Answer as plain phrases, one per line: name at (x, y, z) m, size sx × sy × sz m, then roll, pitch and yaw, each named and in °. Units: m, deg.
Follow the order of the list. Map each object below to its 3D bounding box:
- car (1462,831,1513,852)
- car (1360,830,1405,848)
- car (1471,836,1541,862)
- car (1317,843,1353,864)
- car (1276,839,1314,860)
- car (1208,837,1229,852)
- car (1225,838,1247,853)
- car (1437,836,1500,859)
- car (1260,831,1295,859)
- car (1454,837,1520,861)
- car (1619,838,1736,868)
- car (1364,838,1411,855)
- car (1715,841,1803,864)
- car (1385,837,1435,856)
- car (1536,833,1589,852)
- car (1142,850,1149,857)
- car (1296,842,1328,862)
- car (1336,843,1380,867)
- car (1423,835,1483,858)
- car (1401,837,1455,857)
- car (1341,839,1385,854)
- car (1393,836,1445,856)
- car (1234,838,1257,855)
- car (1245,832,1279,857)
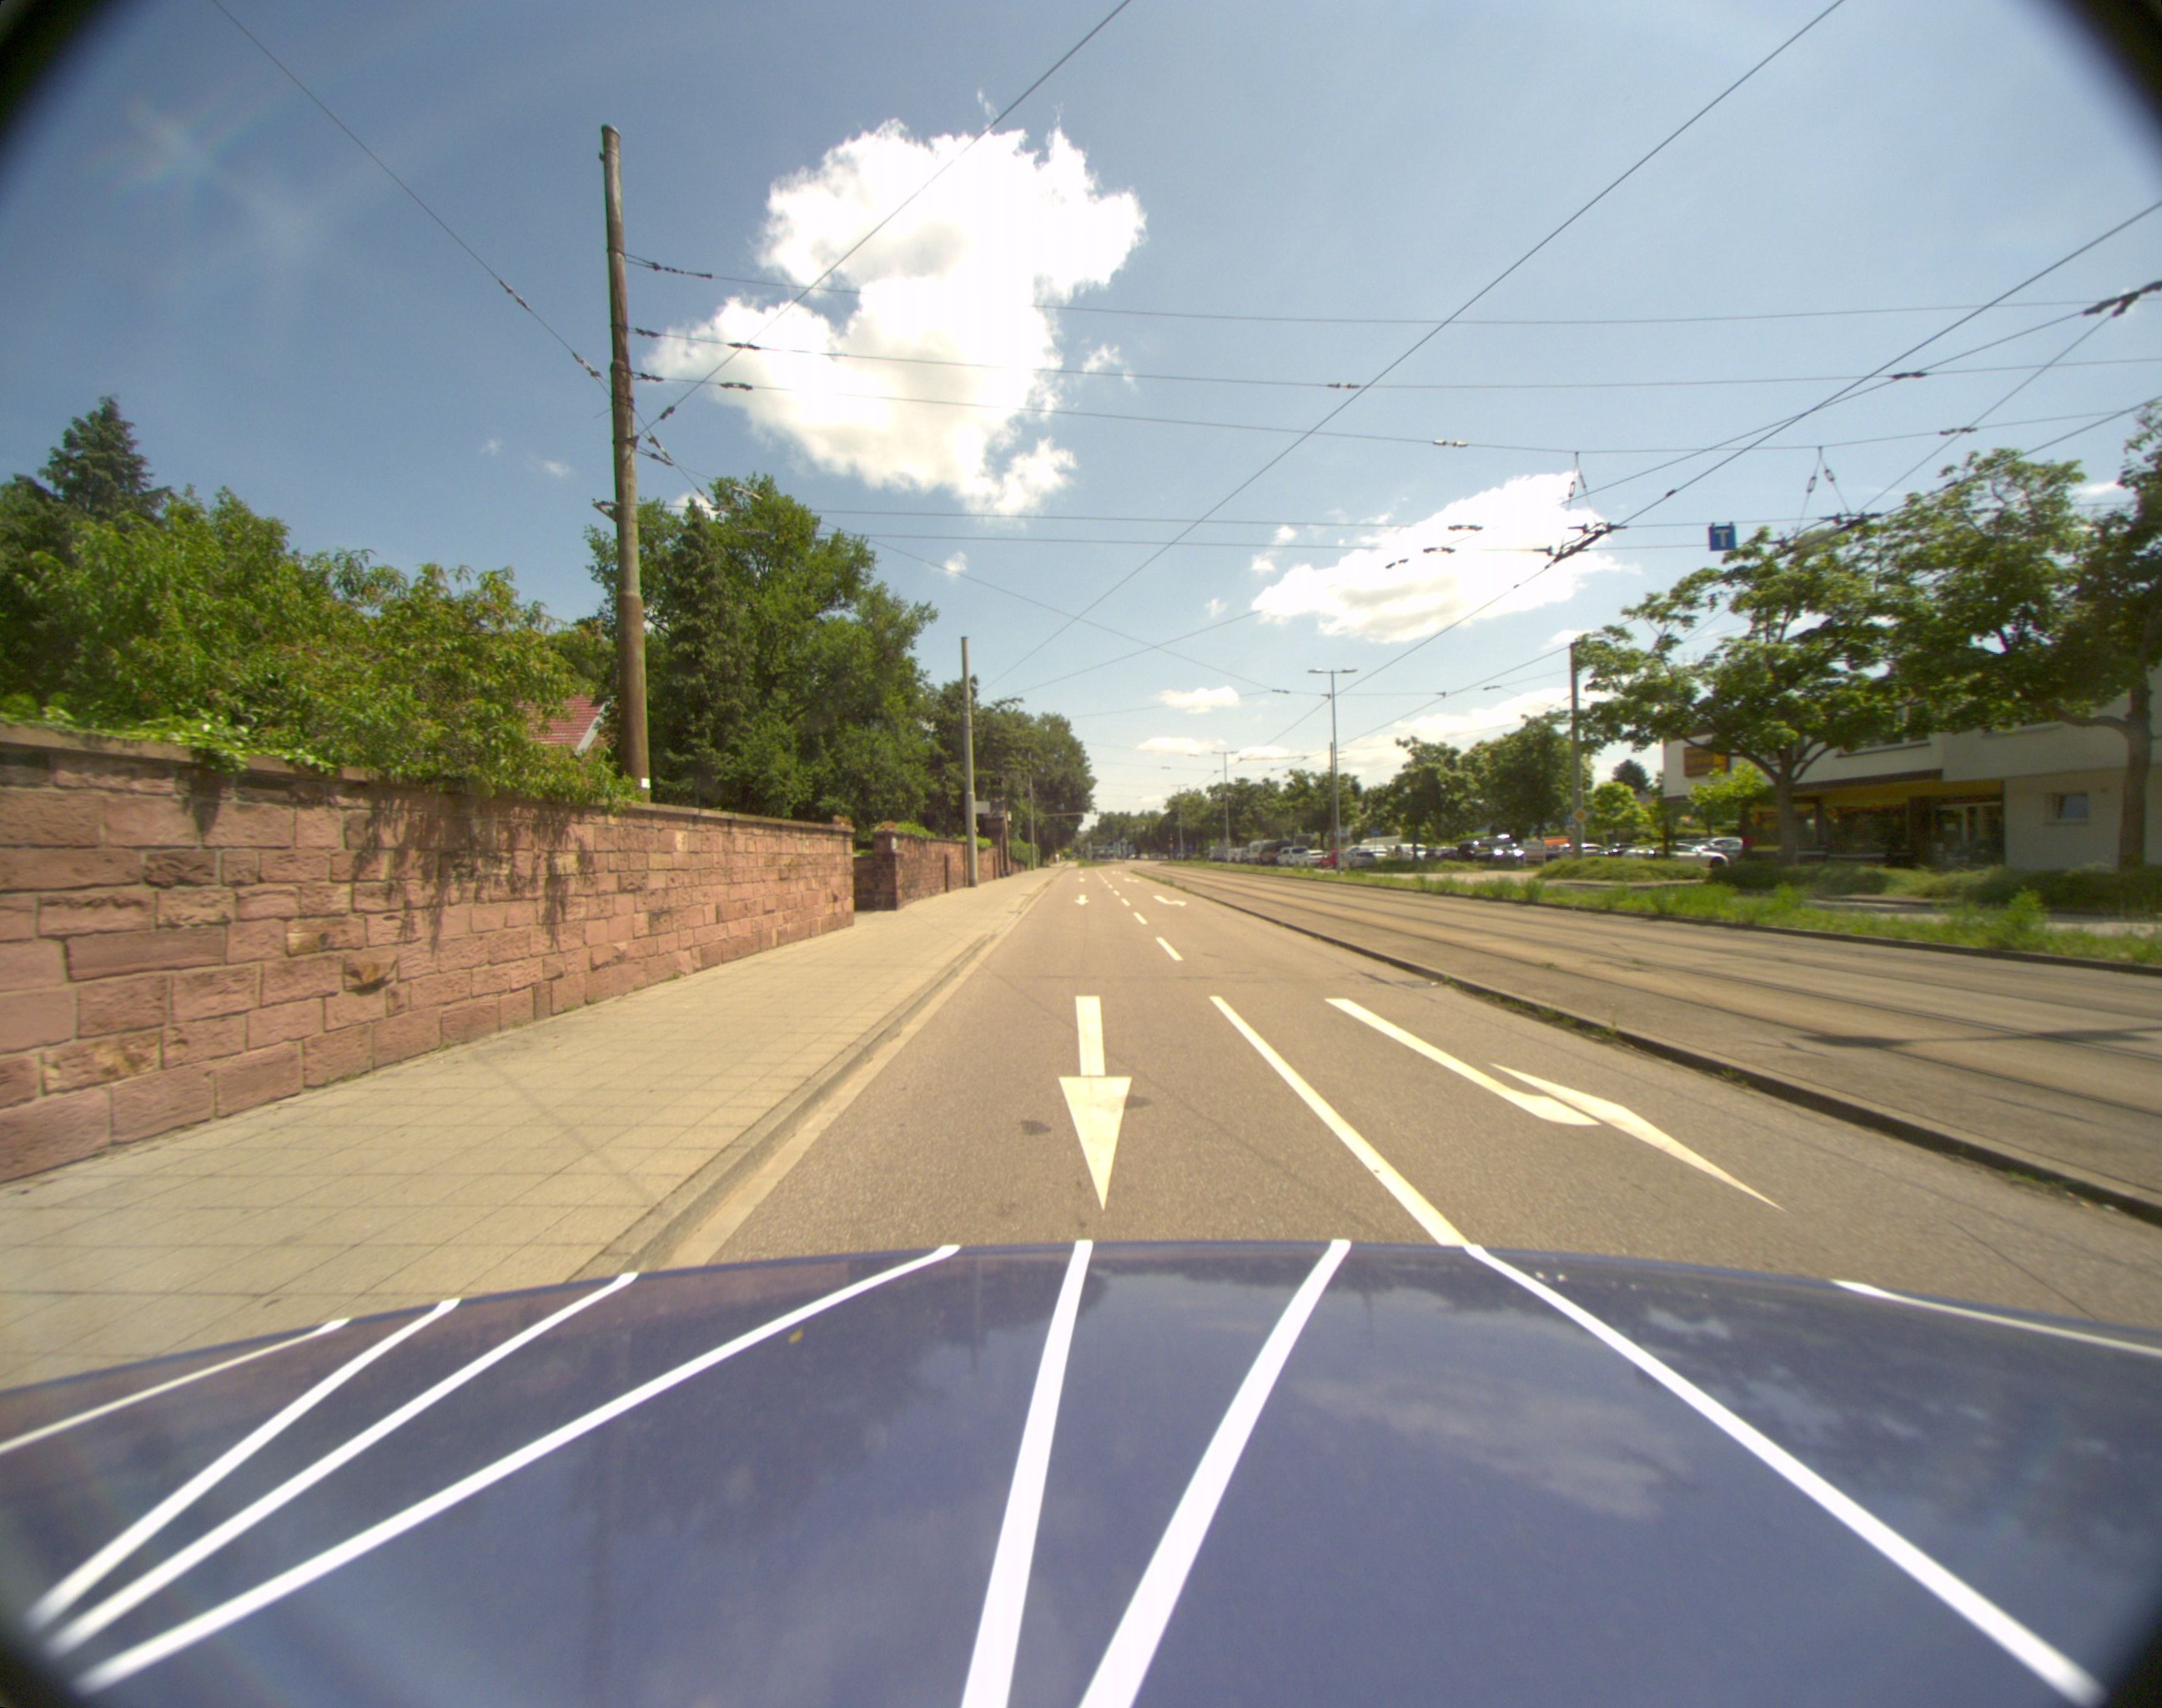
car at (44.493, -1.375, 83.219) m, size 4.652 × 2.212 × 1.851 m, roll 0°, pitch 1°, yaw -3°
car at (44.699, -2.242, 112.644) m, size 5.698 × 2.467 × 2.259 m, roll -1°, pitch 1°, yaw -3°
car at (30.561, -0.381, 54.728) m, size 3.997 × 1.726 × 1.803 m, roll -1°, pitch 1°, yaw 1°
car at (20.338, -0.086, 60.938) m, size 1.503 × 1.531 × 3.648 m, roll -3°, pitch 1°, yaw -3°
car at (20.285, -0.434, 72.265) m, size 2.156 × 1.827 × 4.887 m, roll -3°, pitch 1°, yaw 0°
car at (20.565, -1.371, 113.811) m, size 2.071 × 2.089 × 4.487 m, roll -3°, pitch 1°, yaw -2°
car at (20.707, -1.180, 101.695) m, size 1.795 × 1.928 × 4.487 m, roll -3°, pitch 1°, yaw -2°
car at (30.476, -0.532, 59.826) m, size 3.997 × 1.726 × 1.803 m, roll 0°, pitch 1°, yaw 1°
car at (20.126, -0.952, 78.007) m, size 2.156 × 2.597 × 5.032 m, roll -3°, pitch 1°, yaw 0°
car at (30.634, -0.369, 57.372) m, size 3.997 × 1.726 × 1.879 m, roll -1°, pitch 1°, yaw 1°
car at (30.729, -0.052, 39.242) m, size 4.484 × 1.426 × 1.907 m, roll -1°, pitch 1°, yaw 3°
car at (30.748, -0.740, 76.224) m, size 3.997 × 1.726 × 1.803 m, roll 0°, pitch 1°, yaw 1°
car at (44.120, -0.101, 49.510) m, size 3.996 × 1.394 × 1.906 m, roll -1°, pitch 1°, yaw 3°
car at (31.713, -0.727, 73.358) m, size 3.997 × 1.726 × 1.803 m, roll 0°, pitch 1°, yaw 1°
car at (44.308, -1.077, 69.958) m, size 3.745 × 1.726 × 1.760 m, roll 0°, pitch 1°, yaw -3°
car at (15.972, -0.104, 188.618) m, size 1.681 × 1.680 × 3.546 m, roll 0°, pitch 1°, yaw 6°
car at (19.837, -0.186, 65.409) m, size 1.503 × 1.531 × 4.358 m, roll -3°, pitch 1°, yaw 1°
car at (20.175, 0.029, 55.532) m, size 1.580 × 1.531 × 4.550 m, roll -3°, pitch 1°, yaw 1°
car at (30.486, -0.605, 62.292) m, size 3.997 × 1.726 × 1.803 m, roll -1°, pitch 1°, yaw 1°
car at (31.069, -0.664, 68.057) m, size 3.997 × 1.726 × 1.803 m, roll 0°, pitch 1°, yaw 1°
car at (31.406, -0.838, 84.618) m, size 4.199 × 1.726 × 1.803 m, roll 0°, pitch 1°, yaw 1°
car at (31.336, -0.711, 70.544) m, size 3.997 × 1.726 × 1.902 m, roll -1°, pitch 1°, yaw 1°
car at (20.509, -0.944, 94.928) m, size 1.794 × 1.928 × 4.648 m, roll -3°, pitch 1°, yaw 0°
car at (20.476, -1.101, 86.285) m, size 2.156 × 2.597 × 6.702 m, roll -3°, pitch 1°, yaw -1°
